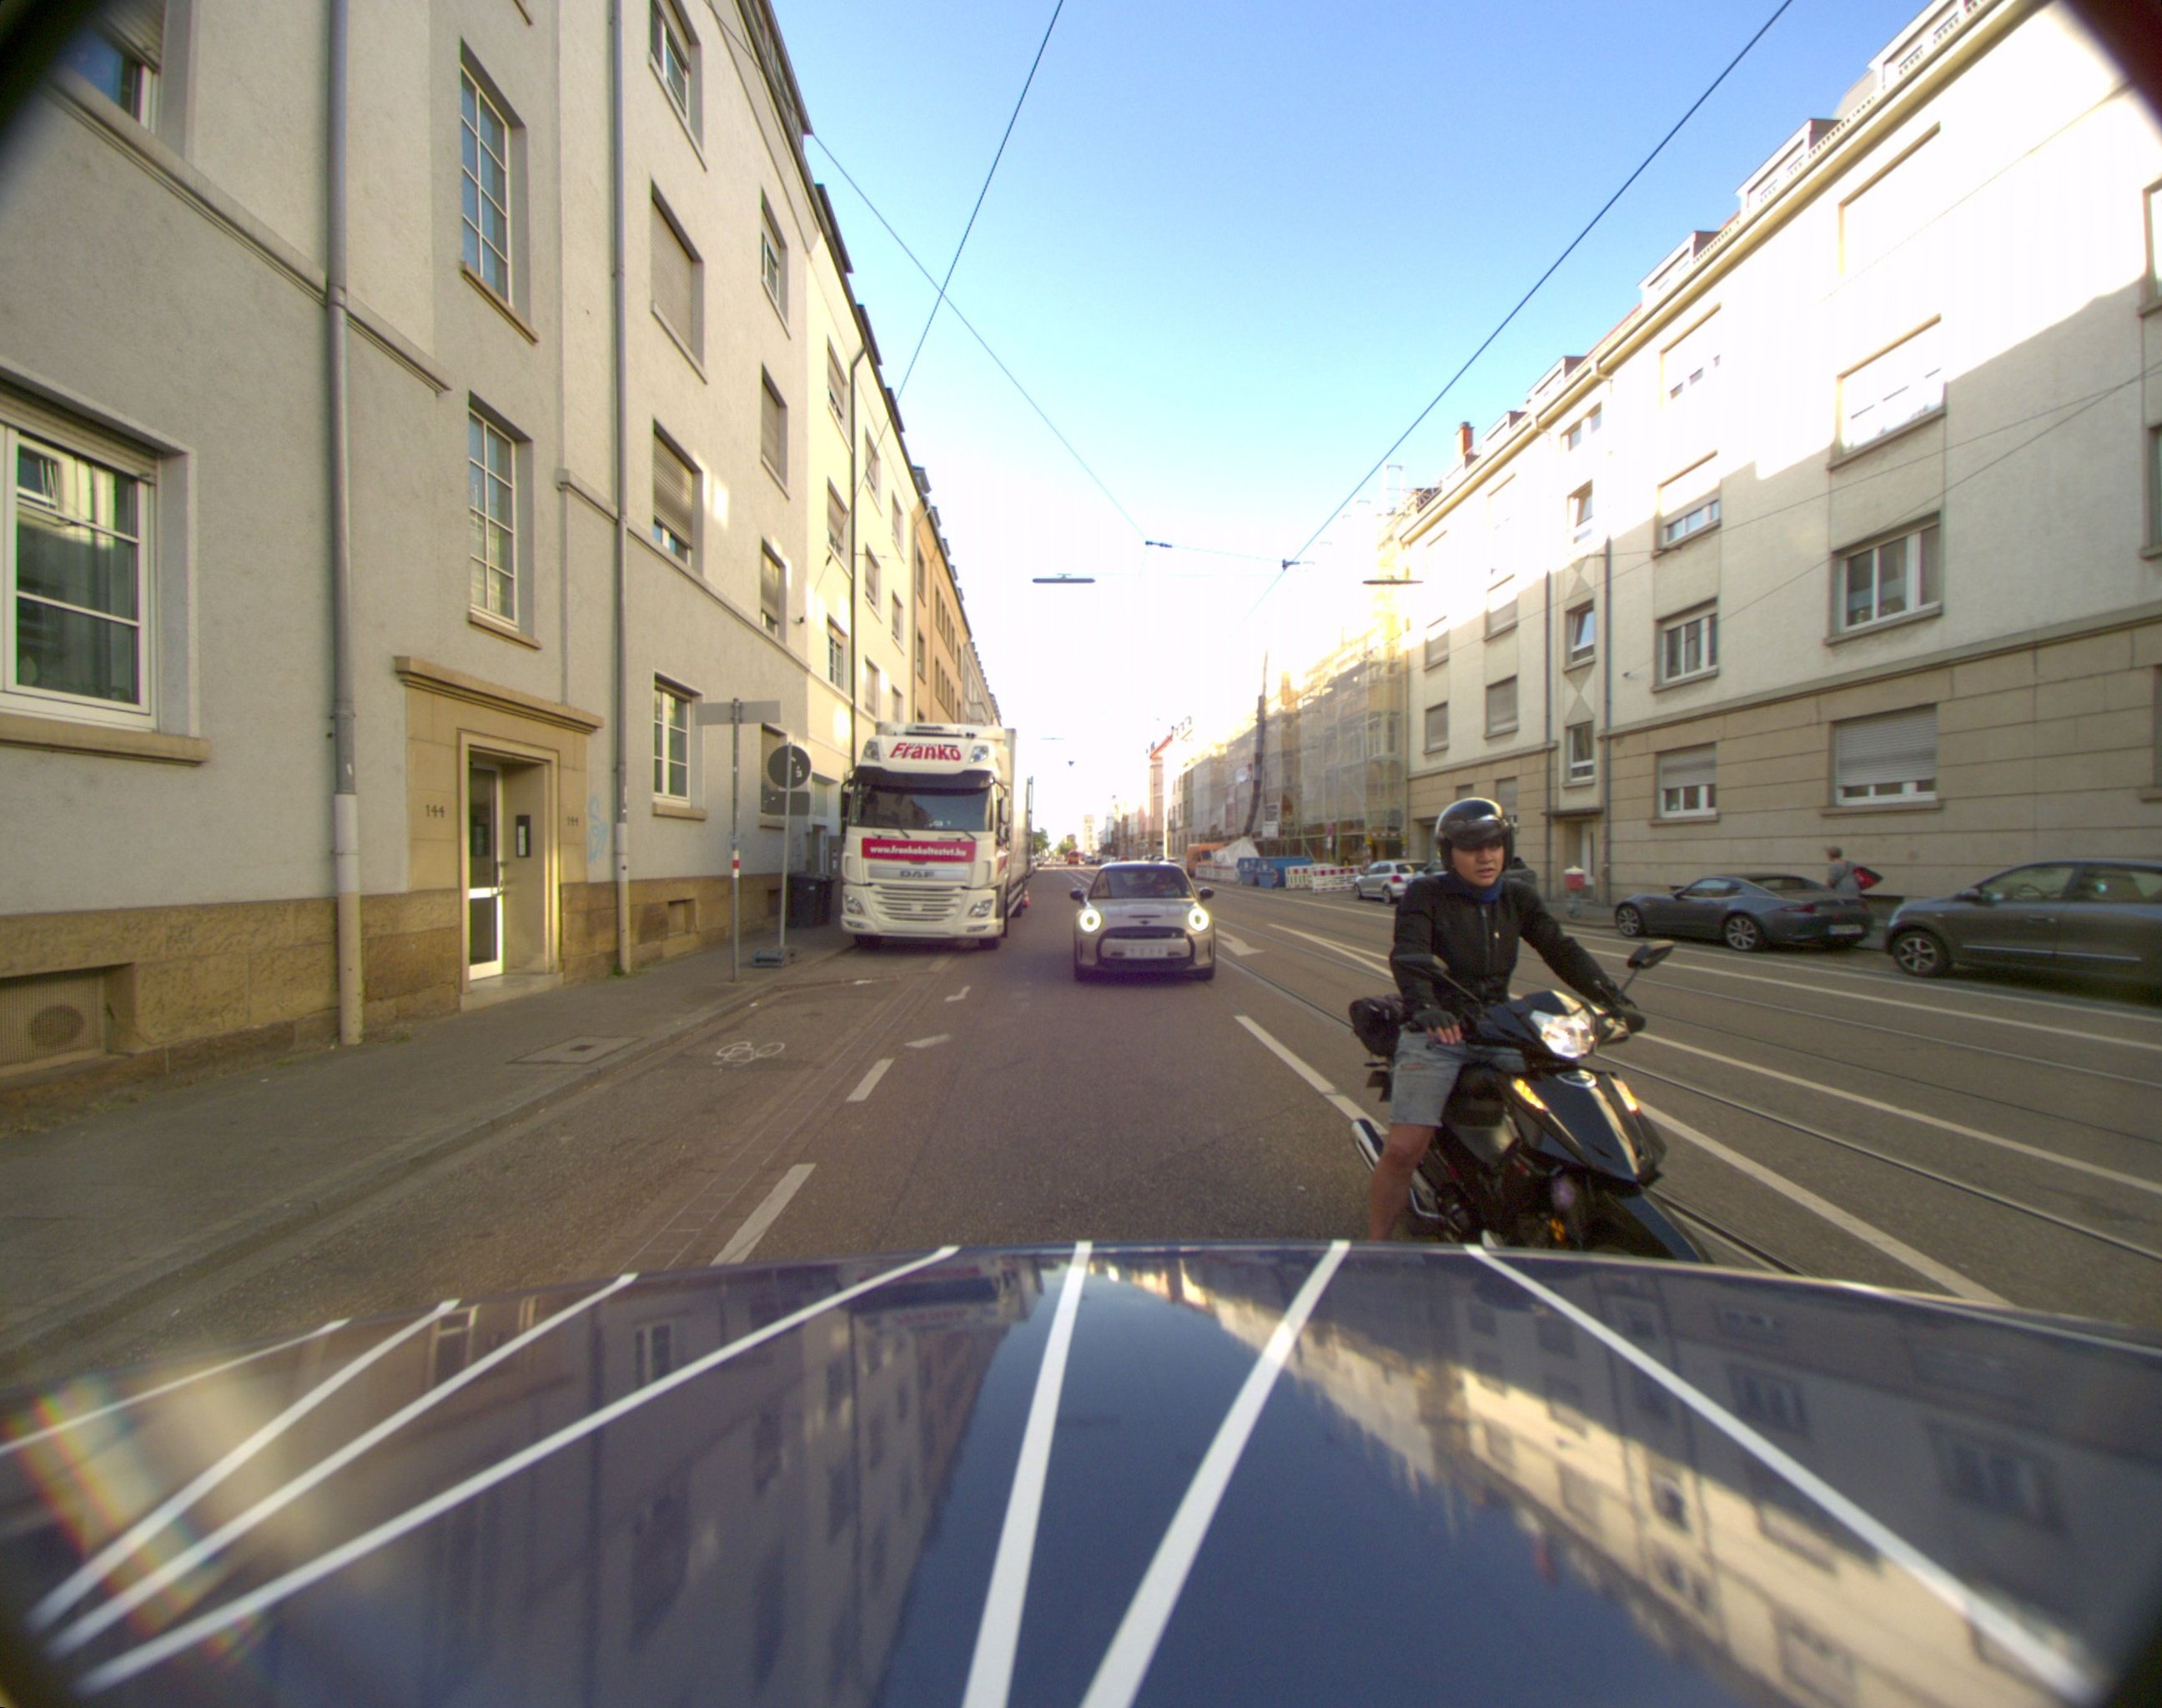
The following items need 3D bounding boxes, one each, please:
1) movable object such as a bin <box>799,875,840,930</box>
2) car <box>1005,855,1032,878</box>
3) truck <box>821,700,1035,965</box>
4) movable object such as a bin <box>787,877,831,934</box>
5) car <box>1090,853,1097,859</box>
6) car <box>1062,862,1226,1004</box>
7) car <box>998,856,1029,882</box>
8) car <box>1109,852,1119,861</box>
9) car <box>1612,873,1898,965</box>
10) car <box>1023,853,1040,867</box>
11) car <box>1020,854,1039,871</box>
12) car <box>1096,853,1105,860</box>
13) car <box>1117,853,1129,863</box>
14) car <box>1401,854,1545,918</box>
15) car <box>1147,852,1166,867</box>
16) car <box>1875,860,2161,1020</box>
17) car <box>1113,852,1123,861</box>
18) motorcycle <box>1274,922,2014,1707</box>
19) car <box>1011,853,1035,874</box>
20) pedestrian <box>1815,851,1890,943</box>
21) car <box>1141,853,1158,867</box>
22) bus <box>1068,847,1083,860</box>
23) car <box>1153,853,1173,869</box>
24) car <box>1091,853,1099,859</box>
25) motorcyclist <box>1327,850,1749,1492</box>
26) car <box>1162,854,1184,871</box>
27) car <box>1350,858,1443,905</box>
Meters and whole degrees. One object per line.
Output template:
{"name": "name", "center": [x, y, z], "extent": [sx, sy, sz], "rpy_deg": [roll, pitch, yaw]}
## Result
{"name": "movable object such as a bin", "center": [-5.398, 0.996, 15.712], "extent": [0.666, 1.087, 0.570], "rpy_deg": [0, 1, -2]}
{"name": "car", "center": [-4.301, 0.825, 52.993], "extent": [1.685, 1.522, 4.148], "rpy_deg": [-2, 0, -3]}
{"name": "truck", "center": [-2.624, -0.324, 17.183], "extent": [2.782, 3.903, 11.816], "rpy_deg": [0, 0, -2]}
{"name": "movable object such as a bin", "center": [-5.382, 1.004, 15.043], "extent": [0.666, 1.087, 0.570], "rpy_deg": [0, 1, -2]}
{"name": "car", "center": [3.315, 0.581, 206.893], "extent": [1.684, 1.478, 3.965], "rpy_deg": [-2, 0, -1]}
{"name": "car", "center": [0.639, 0.890, 10.404], "extent": [1.685, 1.454, 4.148], "rpy_deg": [-2, 0, -3]}
{"name": "car", "center": [-4.174, 0.893, 47.190], "extent": [1.685, 1.522, 4.148], "rpy_deg": [-2, 0, -3]}
{"name": "car", "center": [5.961, 0.438, 139.347], "extent": [1.684, 1.478, 3.966], "rpy_deg": [-2, 0, 1]}
{"name": "car", "center": [11.181, 0.998, 12.984], "extent": [1.520, 1.227, 3.685], "rpy_deg": [-1, 0, -3]}
{"name": "car", "center": [-5.348, 0.644, 82.747], "extent": [1.685, 1.522, 4.148], "rpy_deg": [-2, 0, -3]}
{"name": "car", "center": [-4.854, 0.744, 72.101], "extent": [1.685, 1.522, 4.148], "rpy_deg": [-2, 0, -3]}
{"name": "car", "center": [4.262, 0.610, 167.815], "extent": [1.684, 1.478, 3.965], "rpy_deg": [-2, 0, -1]}
{"name": "car", "center": [6.602, 0.618, 118.638], "extent": [1.684, 1.478, 3.966], "rpy_deg": [-2, 0, 1]}
{"name": "car", "center": [10.812, 0.803, 21.333], "extent": [1.696, 1.590, 4.206], "rpy_deg": [-1, 0, -3]}
{"name": "car", "center": [8.247, 0.612, 83.186], "extent": [1.684, 1.573, 3.966], "rpy_deg": [-2, 0, 1]}
{"name": "car", "center": [11.418, 0.858, 8.322], "extent": [1.679, 1.519, 3.539], "rpy_deg": [-1, 0, -3]}
{"name": "car", "center": [6.534, 0.459, 134.404], "extent": [1.684, 1.478, 3.966], "rpy_deg": [-2, 0, 1]}
{"name": "motorcycle", "center": [1.310, 0.971, 2.523], "extent": [0.791, 1.284, 2.273], "rpy_deg": [0, 0, 1]}
{"name": "car", "center": [-4.509, 0.742, 59.161], "extent": [1.685, 1.522, 4.148], "rpy_deg": [-2, 0, -3]}
{"name": "pedestrian", "center": [13.220, 0.718, 13.044], "extent": [0.570, 1.532, 0.693], "rpy_deg": [0, 1, -2]}
{"name": "car", "center": [7.936, 0.649, 87.882], "extent": [1.684, 1.478, 3.966], "rpy_deg": [-2, 0, 1]}
{"name": "bus", "center": [-1.527, -0.054, 194.748], "extent": [2.755, 3.095, 19.156], "rpy_deg": [0, 0, -3]}
{"name": "car", "center": [8.269, 0.701, 76.812], "extent": [1.684, 1.478, 3.966], "rpy_deg": [-2, 0, 1]}
{"name": "car", "center": [3.540, 0.601, 191.749], "extent": [1.684, 1.478, 3.965], "rpy_deg": [-2, 0, -1]}
{"name": "motorcyclist", "center": [1.310, 0.814, 2.393], "extent": [0.791, 1.645, 0.900], "rpy_deg": [0, 1, 1]}
{"name": "car", "center": [8.574, 0.756, 71.115], "extent": [1.684, 1.478, 3.966], "rpy_deg": [-2, 0, 1]}
{"name": "car", "center": [10.611, 0.879, 25.782], "extent": [1.543, 1.404, 3.510], "rpy_deg": [-1, 0, -3]}
